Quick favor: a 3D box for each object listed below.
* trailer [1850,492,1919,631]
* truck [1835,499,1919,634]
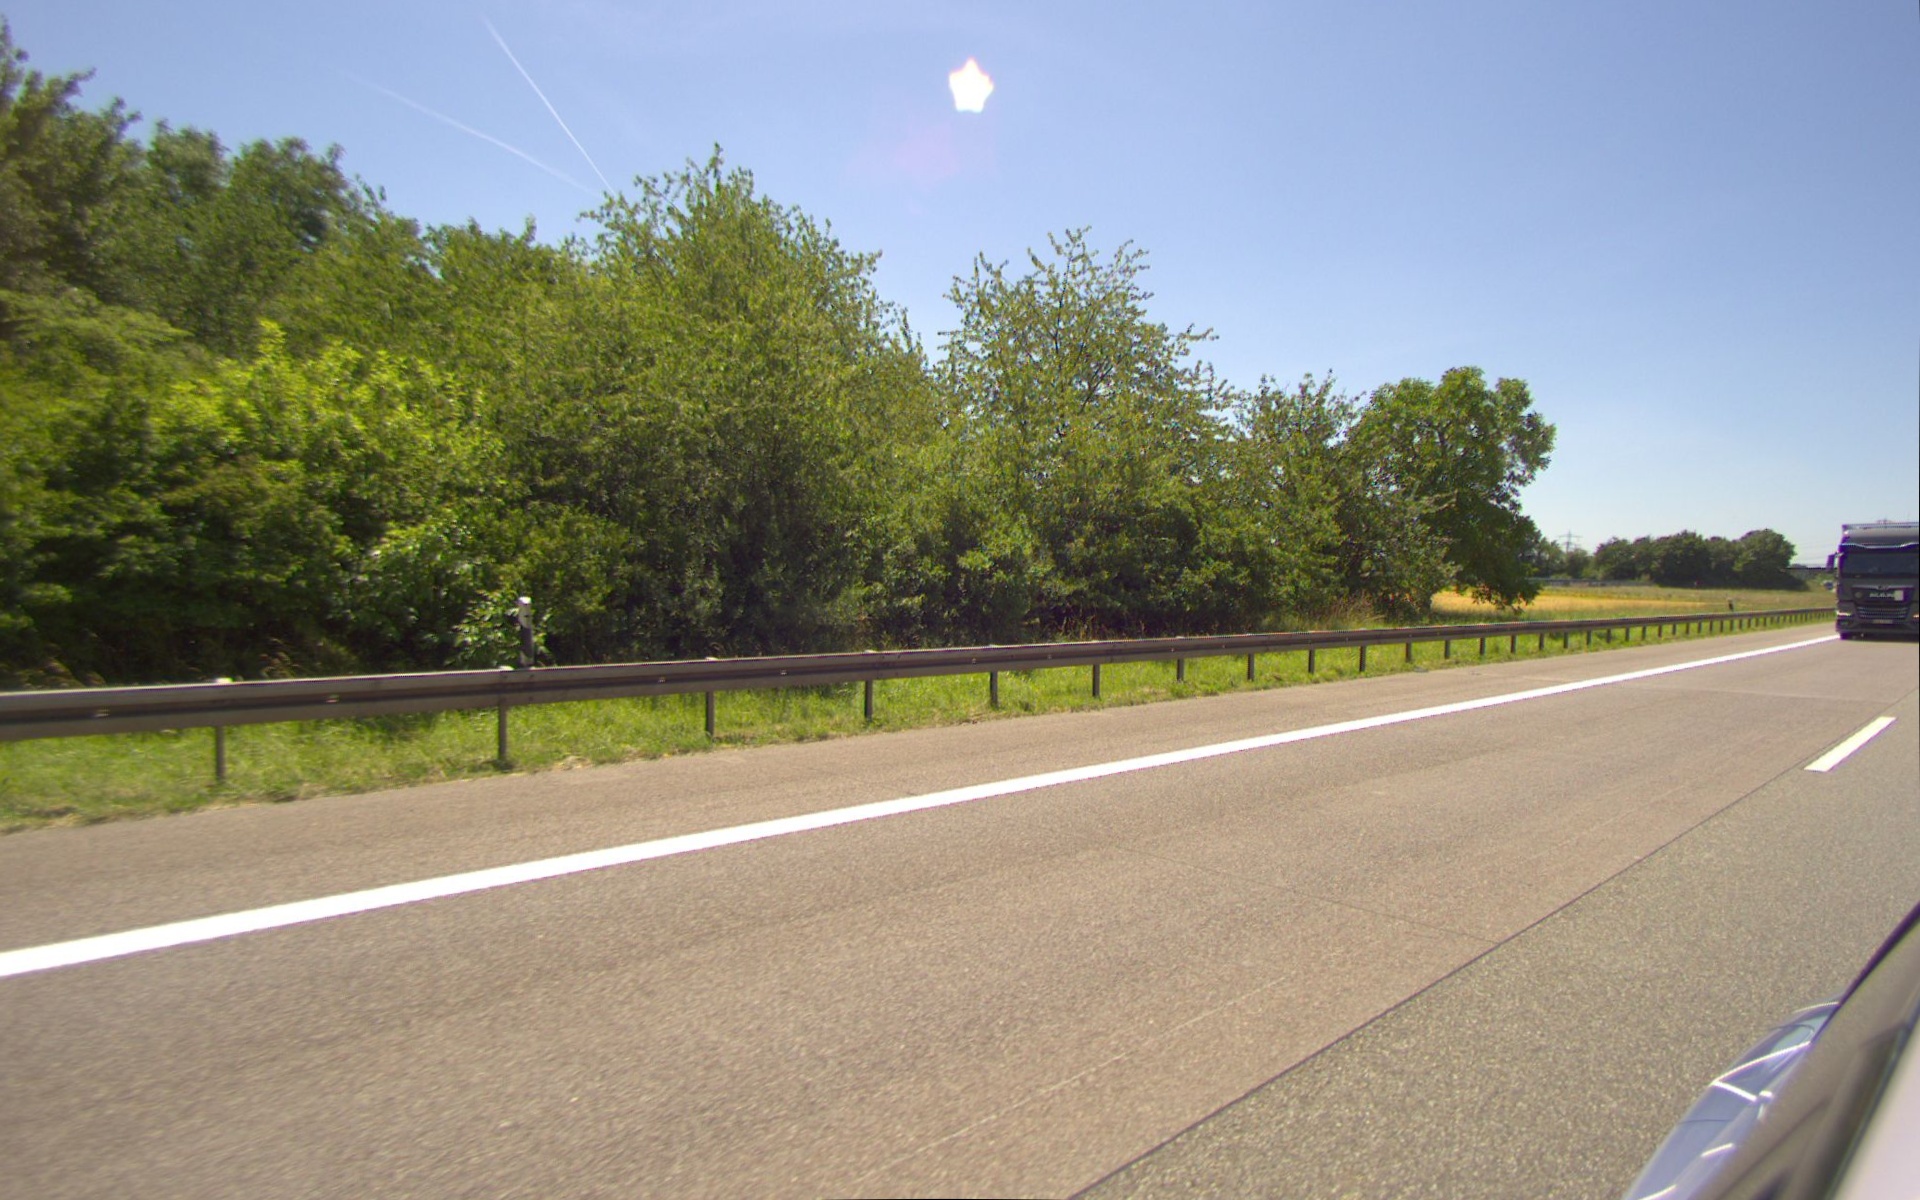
[{"bbox_3d":[37.533,-1.363,39.154,13.743,4.715,2.906,-1,1,-41],"label":"trailer"},{"bbox_3d":[32.143,-1.093,34.427,4.888,4.309,2.913,0,1,-41],"label":"truck"}]
